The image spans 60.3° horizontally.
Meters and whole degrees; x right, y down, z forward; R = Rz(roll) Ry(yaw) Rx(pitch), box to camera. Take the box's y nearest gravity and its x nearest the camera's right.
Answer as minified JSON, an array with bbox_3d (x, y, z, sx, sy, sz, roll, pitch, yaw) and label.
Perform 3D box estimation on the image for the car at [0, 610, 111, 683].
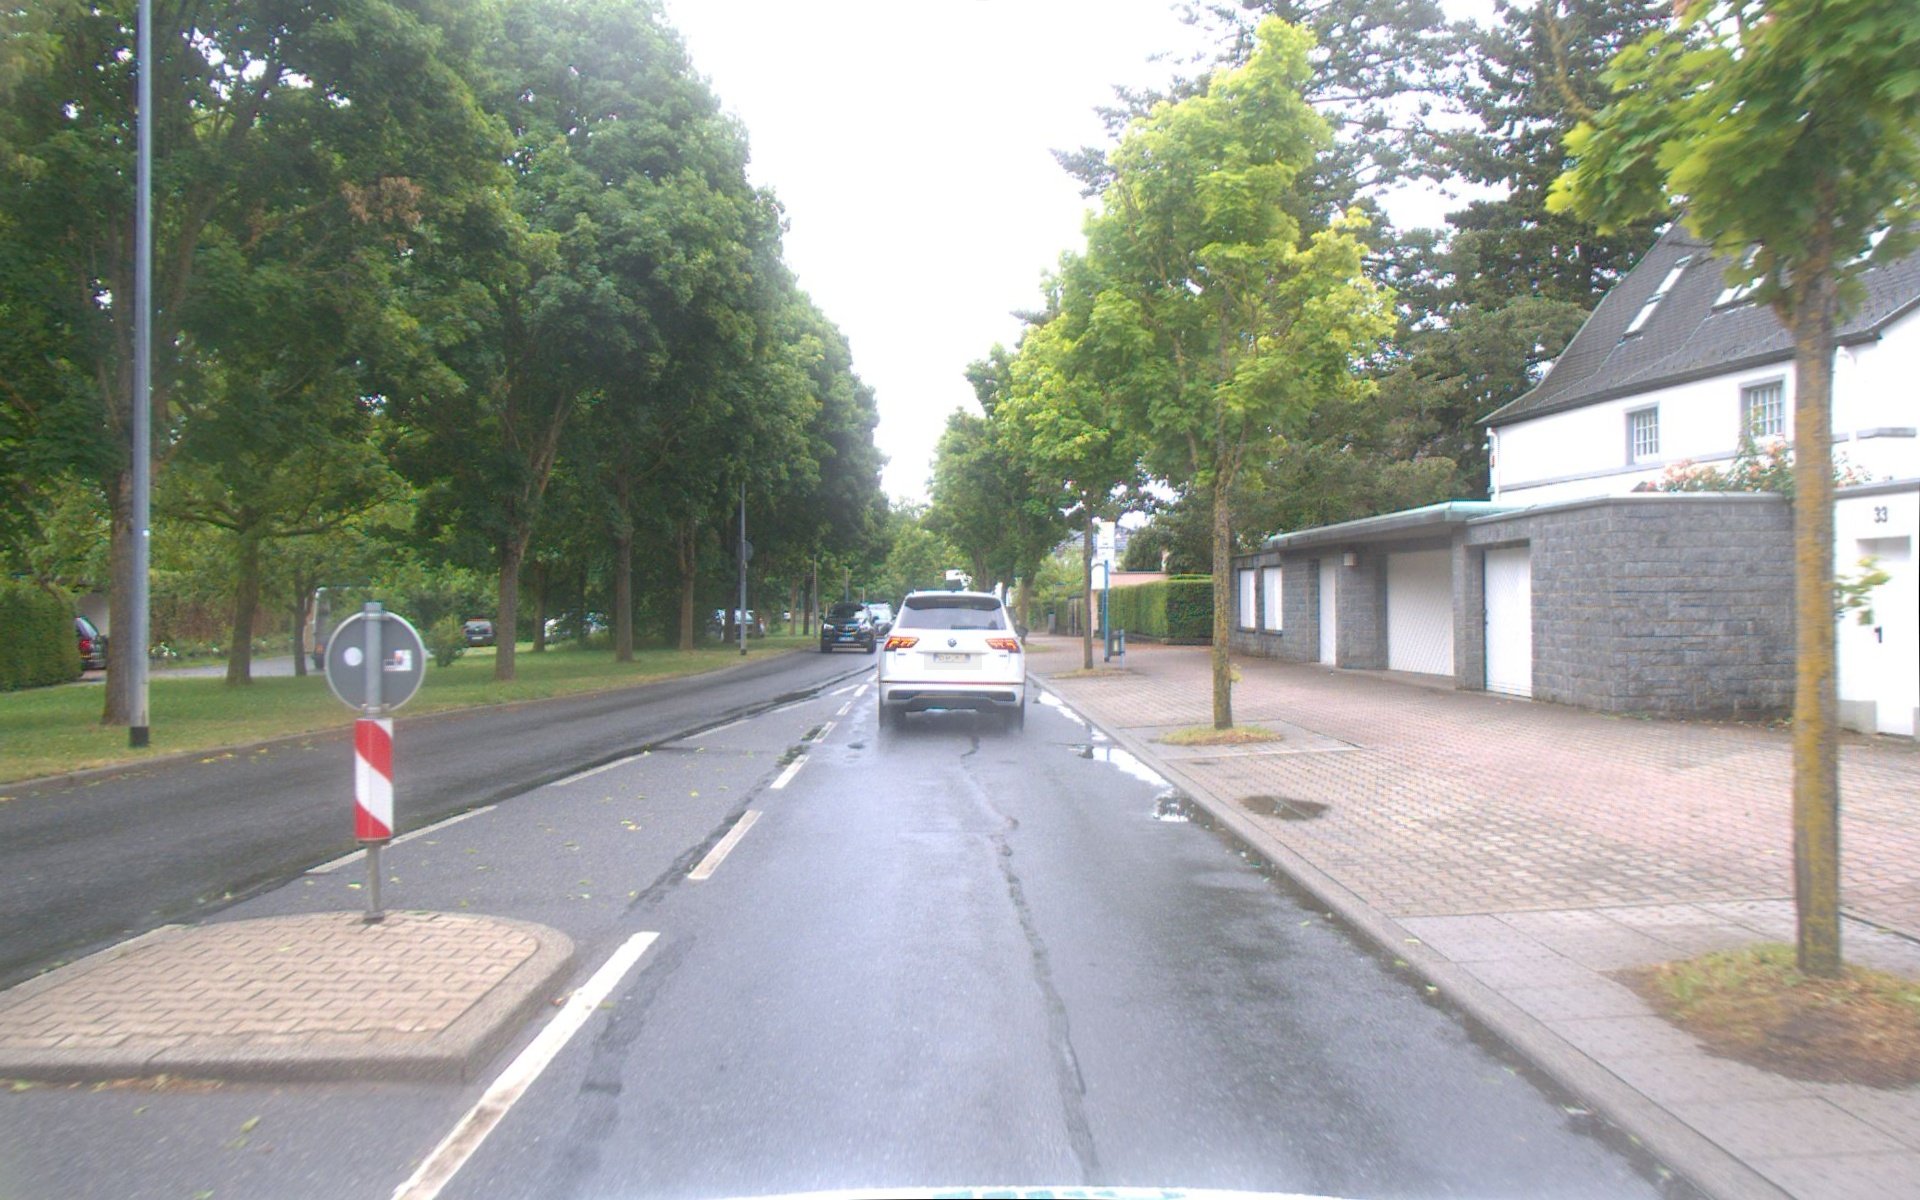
[{"bbox_3d":[-24.922,1.223,43.820,3.916,1.847,1.874,-1,-1,-11],"label":"car"}]

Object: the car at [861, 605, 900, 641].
[{"bbox_3d":[-3.723,1.073,78.023,1.720,1.677,3.999,1,0,-1],"label":"car"}]

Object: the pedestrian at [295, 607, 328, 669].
[{"bbox_3d":[-19.671,1.144,50.173,0.695,1.873,0.823,-1,0,-7],"label":"pedestrian"}]

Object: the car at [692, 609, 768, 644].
[{"bbox_3d":[-10.463,1.188,74.929,1.826,1.508,3.950,-1,-1,-35],"label":"car"}]

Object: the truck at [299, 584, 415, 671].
[{"bbox_3d":[-19.444,0.860,53.592,2.241,2.642,5.864,-1,0,-7],"label":"truck"}]

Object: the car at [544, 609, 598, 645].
[{"bbox_3d":[-16.962,1.168,72.063,1.814,1.508,3.976,-1,0,-20],"label":"car"}]

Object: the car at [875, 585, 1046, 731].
[{"bbox_3d":[-0.096,0.674,21.185,1.957,1.660,3.997,1,0,-3],"label":"car"}]

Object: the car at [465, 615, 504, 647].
[{"bbox_3d":[-23.910,1.552,83.266,1.450,1.557,3.108,-1,0,-8],"label":"car"}]

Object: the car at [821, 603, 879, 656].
[{"bbox_3d":[-3.632,0.969,55.174,1.778,1.677,3.998,1,0,-2],"label":"car"}]
